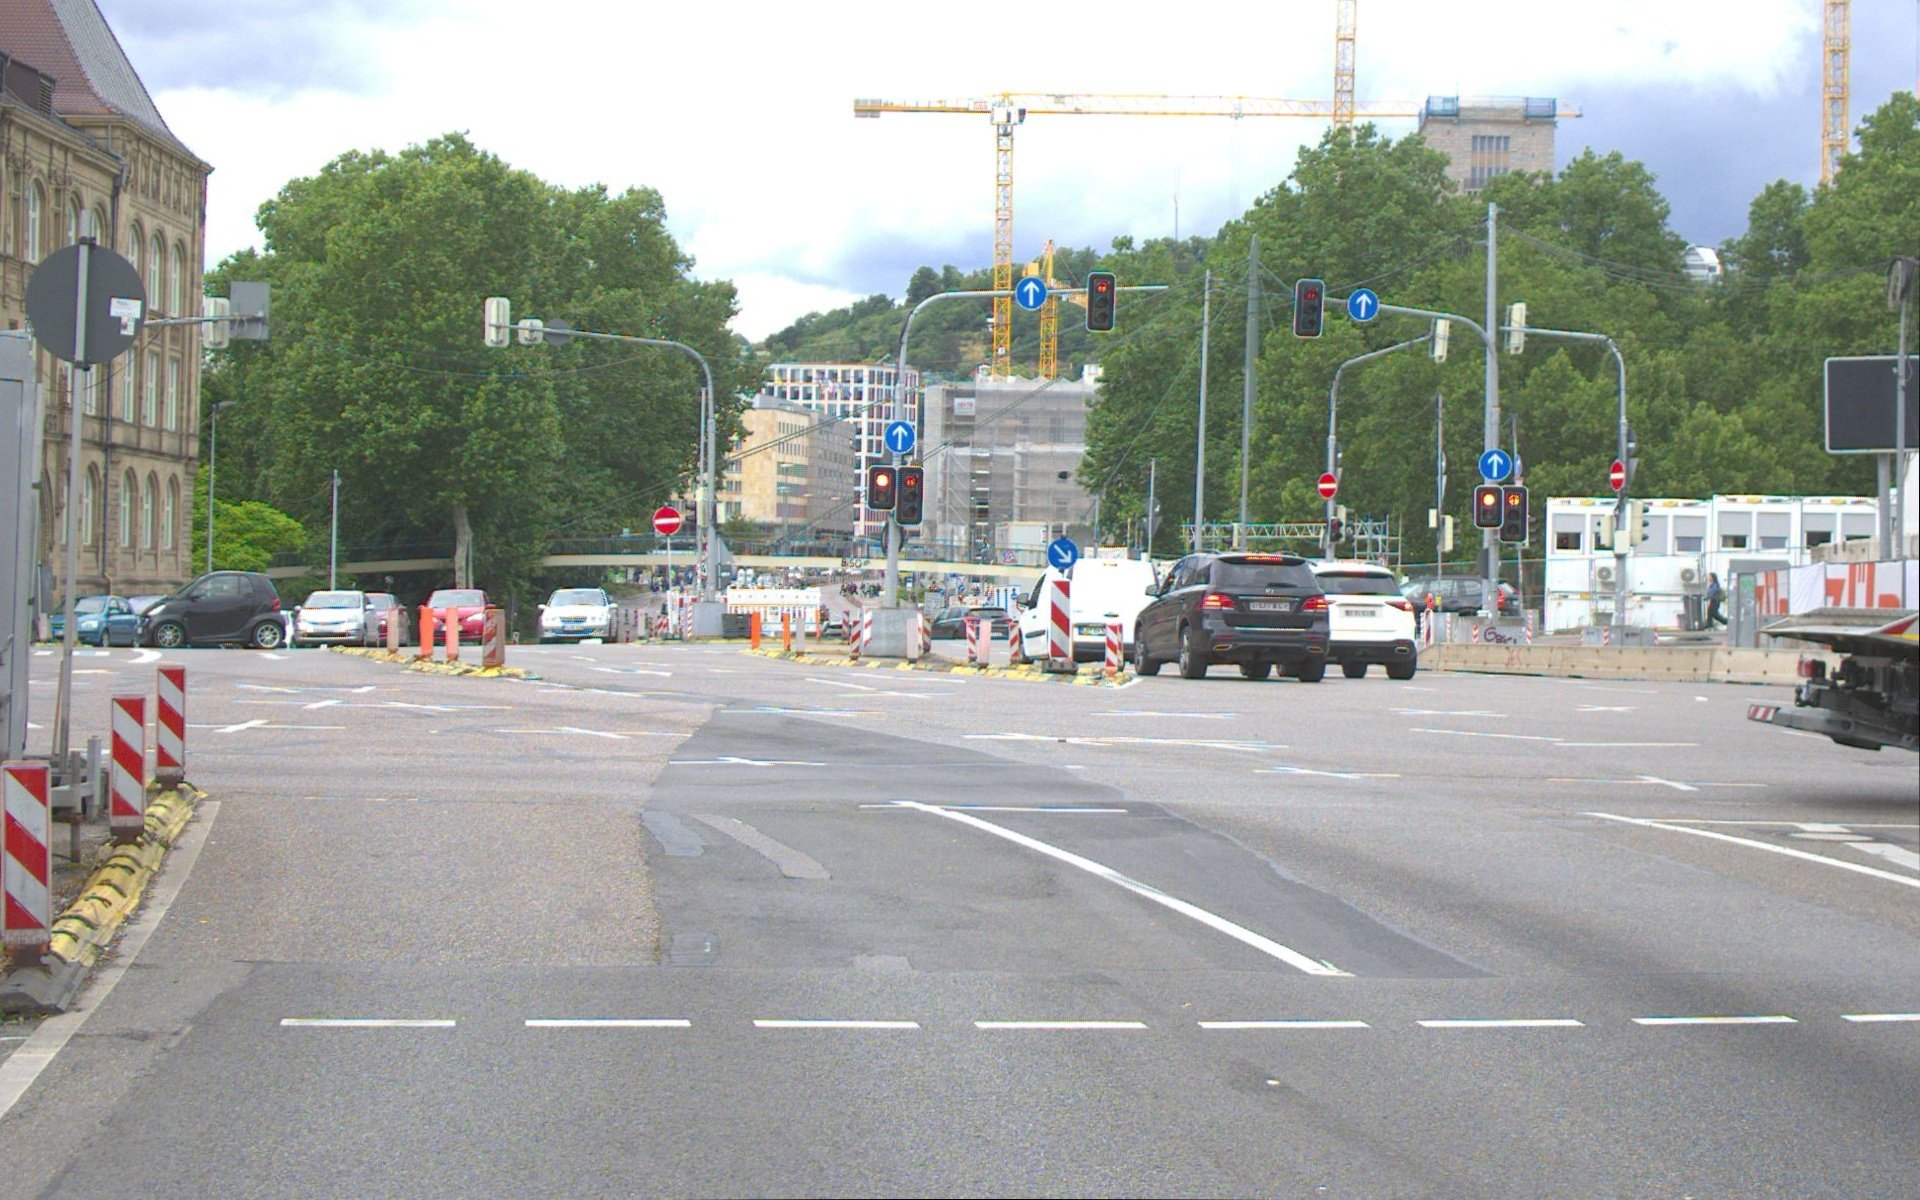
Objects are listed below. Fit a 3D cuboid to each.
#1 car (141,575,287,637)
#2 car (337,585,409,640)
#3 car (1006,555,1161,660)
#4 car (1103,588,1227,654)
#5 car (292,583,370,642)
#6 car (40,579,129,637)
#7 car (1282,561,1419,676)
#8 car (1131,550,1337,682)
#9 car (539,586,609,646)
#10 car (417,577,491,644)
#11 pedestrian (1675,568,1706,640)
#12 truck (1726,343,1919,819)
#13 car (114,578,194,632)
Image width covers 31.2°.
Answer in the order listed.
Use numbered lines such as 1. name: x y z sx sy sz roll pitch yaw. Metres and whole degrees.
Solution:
1. car: -14.284 0.105 65.928 2.688 1.138 1.358 1 0 -11
2. car: -15.662 0.324 91.790 1.675 1.393 3.684 1 1 -7
3. car: 1.955 0.098 55.528 1.816 1.619 4.001 1 1 -8
4. car: 4.507 0.448 75.990 1.675 1.393 3.087 1 1 -19
5. car: -15.642 0.285 85.629 1.675 1.393 3.684 1 1 -7
6. car: -21.991 0.189 86.487 1.675 1.393 3.684 1 1 -7
7. car: 5.991 0.265 53.049 1.676 1.696 3.374 1 1 -1
8. car: 3.757 0.190 47.855 1.831 1.740 4.257 1 1 -10
9. car: -9.555 0.376 85.019 1.675 1.393 3.684 1 1 -7
10. car: -12.447 0.248 84.719 1.675 1.575 3.684 1 1 -7
11. pedestrian: 17.868 0.087 84.094 0.526 1.742 0.468 1 1 -24
12. truck: 9.669 -0.050 21.747 8.980 2.794 2.627 1 1 -2
13. car: -21.769 0.129 92.917 1.675 1.393 3.684 1 1 -7
